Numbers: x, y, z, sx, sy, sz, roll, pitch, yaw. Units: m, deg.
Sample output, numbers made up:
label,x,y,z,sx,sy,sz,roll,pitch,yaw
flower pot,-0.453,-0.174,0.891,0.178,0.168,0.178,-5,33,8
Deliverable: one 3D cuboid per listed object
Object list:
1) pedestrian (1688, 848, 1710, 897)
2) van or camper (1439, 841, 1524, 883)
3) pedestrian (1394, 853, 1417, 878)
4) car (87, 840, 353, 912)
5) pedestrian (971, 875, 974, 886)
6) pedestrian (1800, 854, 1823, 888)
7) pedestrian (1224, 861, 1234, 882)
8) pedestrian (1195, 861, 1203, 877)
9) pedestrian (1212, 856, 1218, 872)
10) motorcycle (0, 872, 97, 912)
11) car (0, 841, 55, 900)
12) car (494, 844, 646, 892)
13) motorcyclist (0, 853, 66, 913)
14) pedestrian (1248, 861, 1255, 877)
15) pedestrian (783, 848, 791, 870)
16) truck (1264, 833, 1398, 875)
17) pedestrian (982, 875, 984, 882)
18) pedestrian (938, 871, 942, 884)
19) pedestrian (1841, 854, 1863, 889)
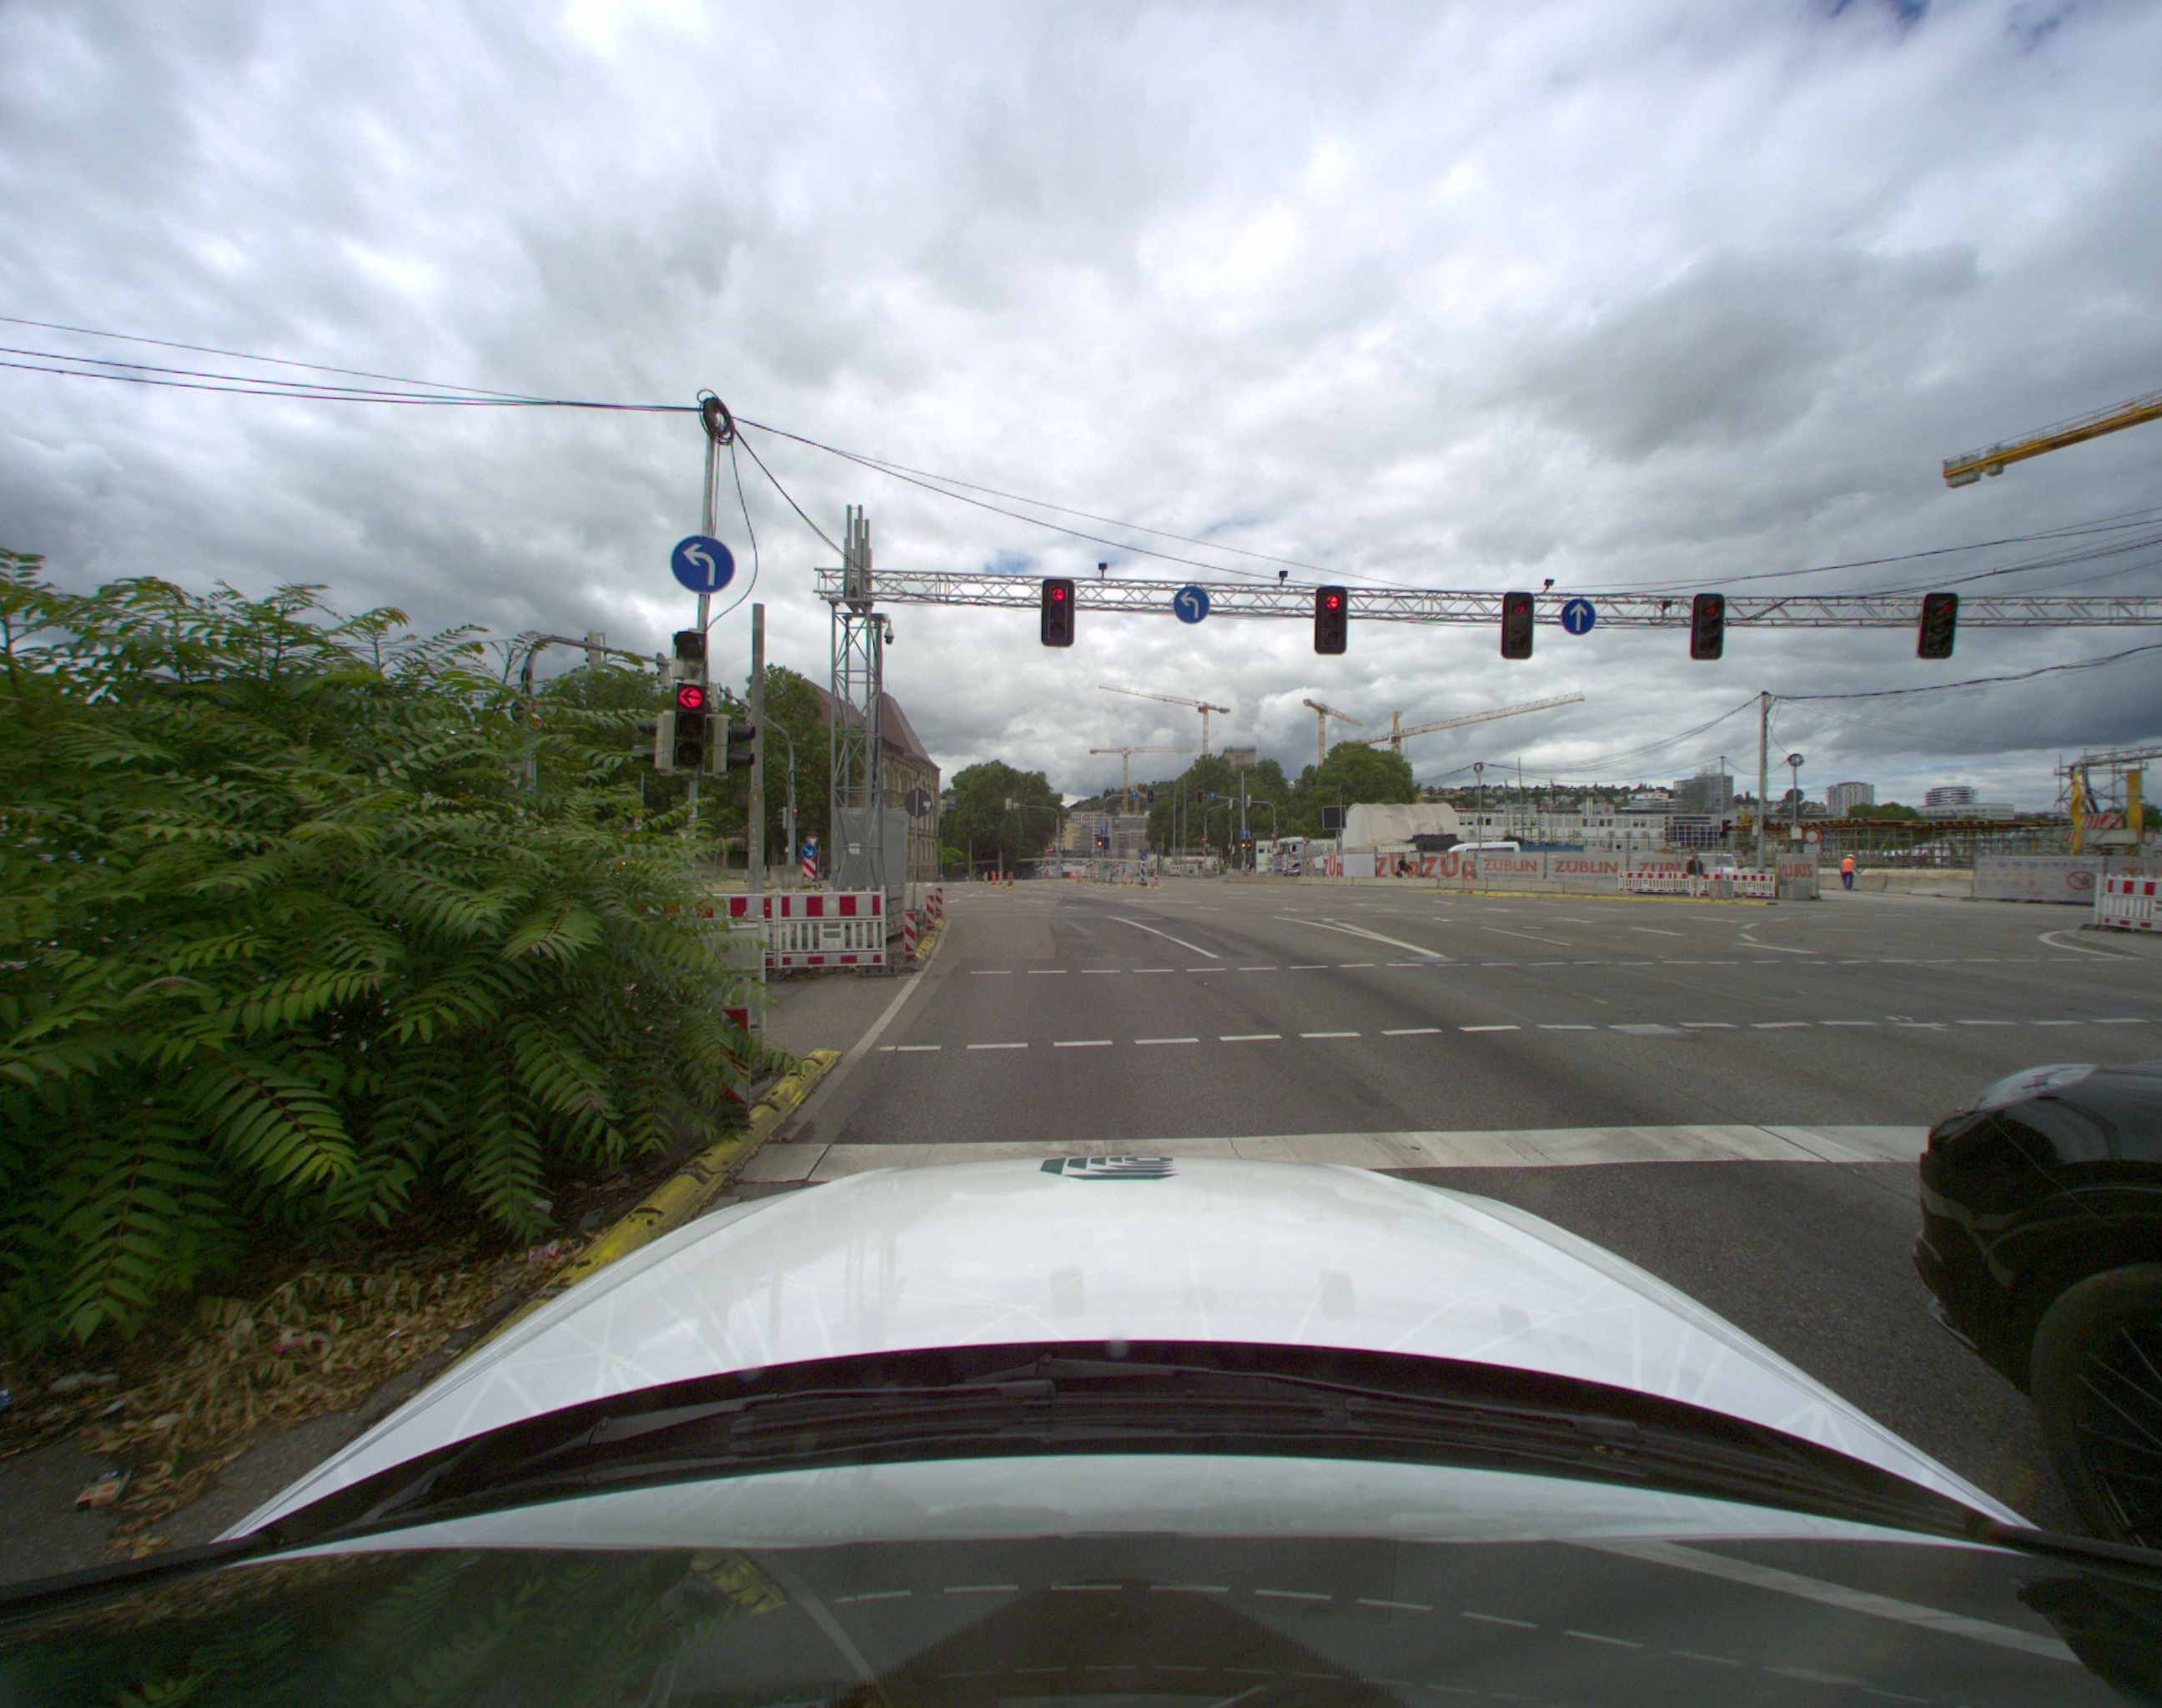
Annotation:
label,x,y,z,sx,sy,sz,roll,pitch,yaw
pedestrian,25.652,0.743,33.789,0.645,2.013,0.520,0,0,27
van or camper,23.141,0.426,47.197,4.181,2.357,2.009,0,0,16
pedestrian,18.154,0.614,45.533,0.800,1.378,0.898,0,0,-22
car,-21.231,0.527,20.249,4.302,1.676,1.998,0,0,-3
pedestrian,-20.772,5.057,155.384,0.522,2.014,0.567,0,0,2
pedestrian,38.834,0.905,43.308,0.651,1.795,0.617,0,0,-7
pedestrian,12.242,1.440,67.415,0.726,1.689,0.678,0,0,1
pedestrian,12.473,1.542,86.101,0.726,1.689,0.678,0,0,1
pedestrian,14.214,1.103,86.572,0.564,1.689,0.472,0,0,1
motorcycle,-25.480,0.923,19.802,2.051,0.924,0.756,0,0,-4
car,-32.902,0.467,23.303,4.302,1.676,1.998,0,0,-3
car,-18.828,0.503,30.240,4.315,1.676,1.992,0,0,-12
motorcyclist,-25.627,0.689,19.787,0.963,1.423,0.745,0,0,-4
pedestrian,18.027,1.607,86.116,0.615,1.689,0.716,0,0,31
pedestrian,-26.744,0.431,74.115,0.530,2.014,0.423,1,-1,-42
truck,25.024,-0.018,81.584,13.062,4.041,3.926,0,0,-18
pedestrian,-21.664,5.416,180.243,0.534,1.592,0.515,0,0,-2
pedestrian,-21.791,3.641,126.204,0.522,2.014,0.567,0,0,2
pedestrian,38.331,0.865,40.484,0.651,1.717,0.516,0,0,-9
